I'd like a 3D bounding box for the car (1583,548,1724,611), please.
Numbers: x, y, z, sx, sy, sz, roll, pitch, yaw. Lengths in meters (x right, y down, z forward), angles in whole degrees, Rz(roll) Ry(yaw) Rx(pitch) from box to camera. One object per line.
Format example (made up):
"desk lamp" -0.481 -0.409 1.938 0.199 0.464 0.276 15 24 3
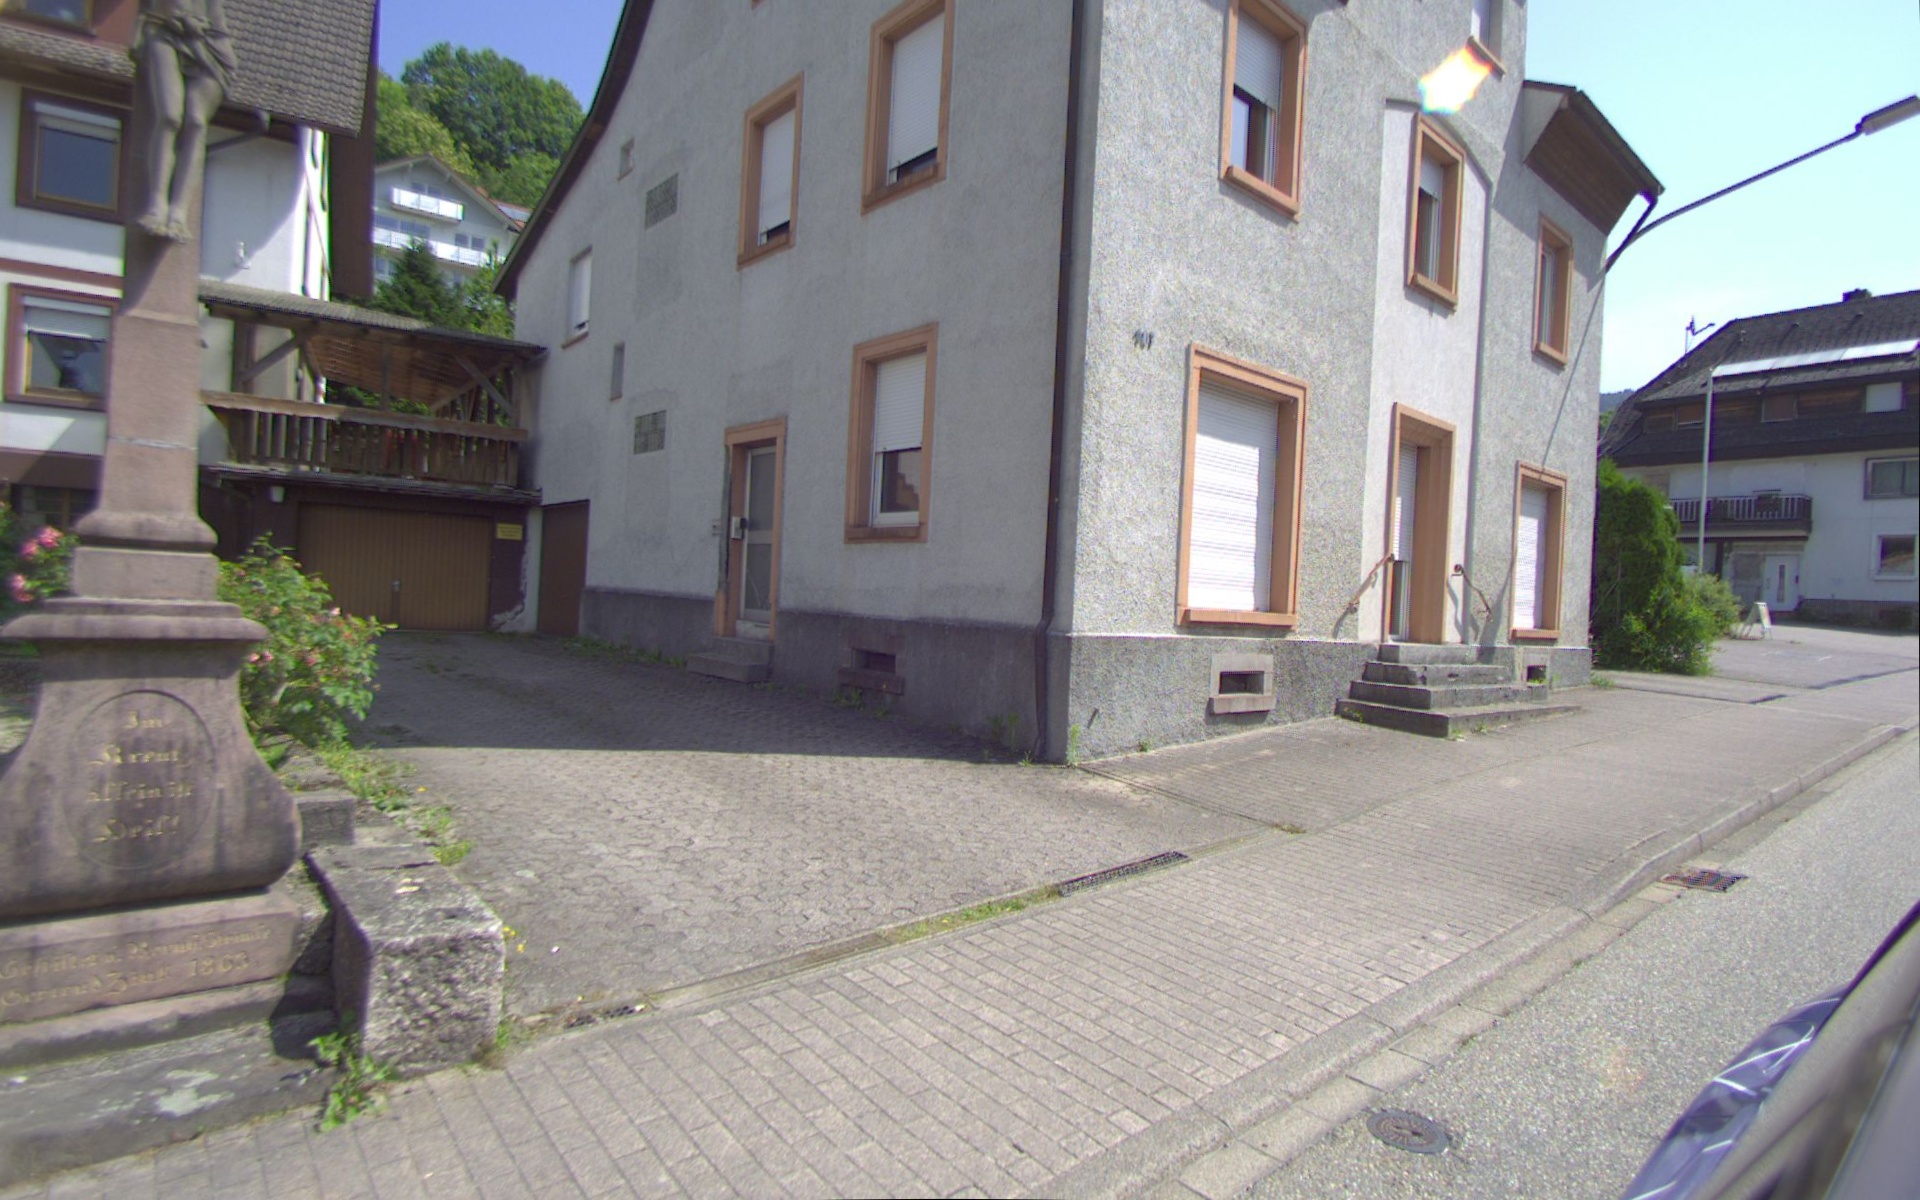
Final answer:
"car" 26.453 -0.853 38.744 1.605 2.007 4.023 -1 7 -36
